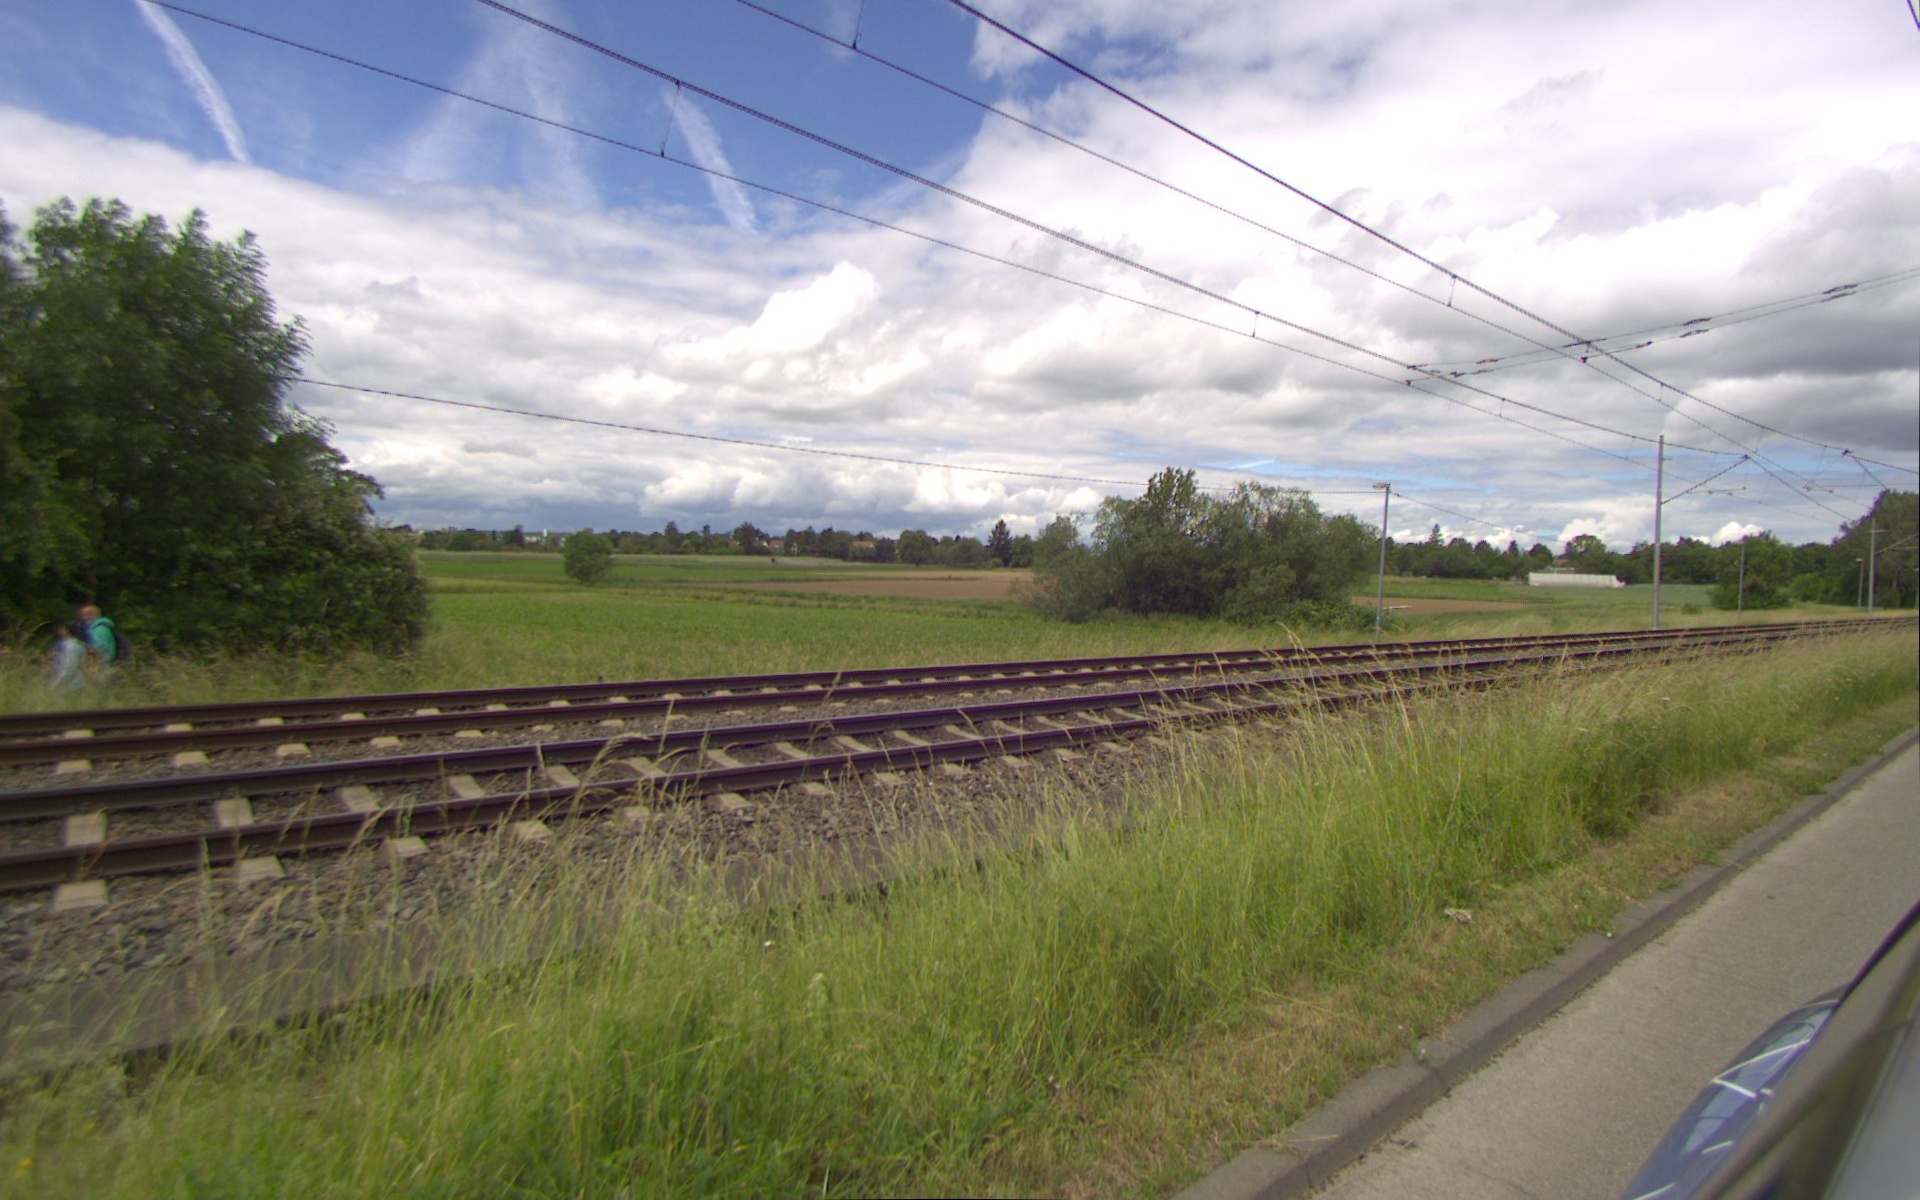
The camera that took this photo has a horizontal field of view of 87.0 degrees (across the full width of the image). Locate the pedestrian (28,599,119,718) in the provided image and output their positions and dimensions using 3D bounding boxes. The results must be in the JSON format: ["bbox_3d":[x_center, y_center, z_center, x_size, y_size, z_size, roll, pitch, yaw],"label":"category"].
[{"bbox_3d":[-11.130,0.712,12.728,0.652,1.449,0.601,0,0,-15],"label":"pedestrian"}]

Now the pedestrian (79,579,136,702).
[{"bbox_3d":[-11.703,0.537,13.899,0.573,1.643,0.617,0,0,-40],"label":"pedestrian"}]
